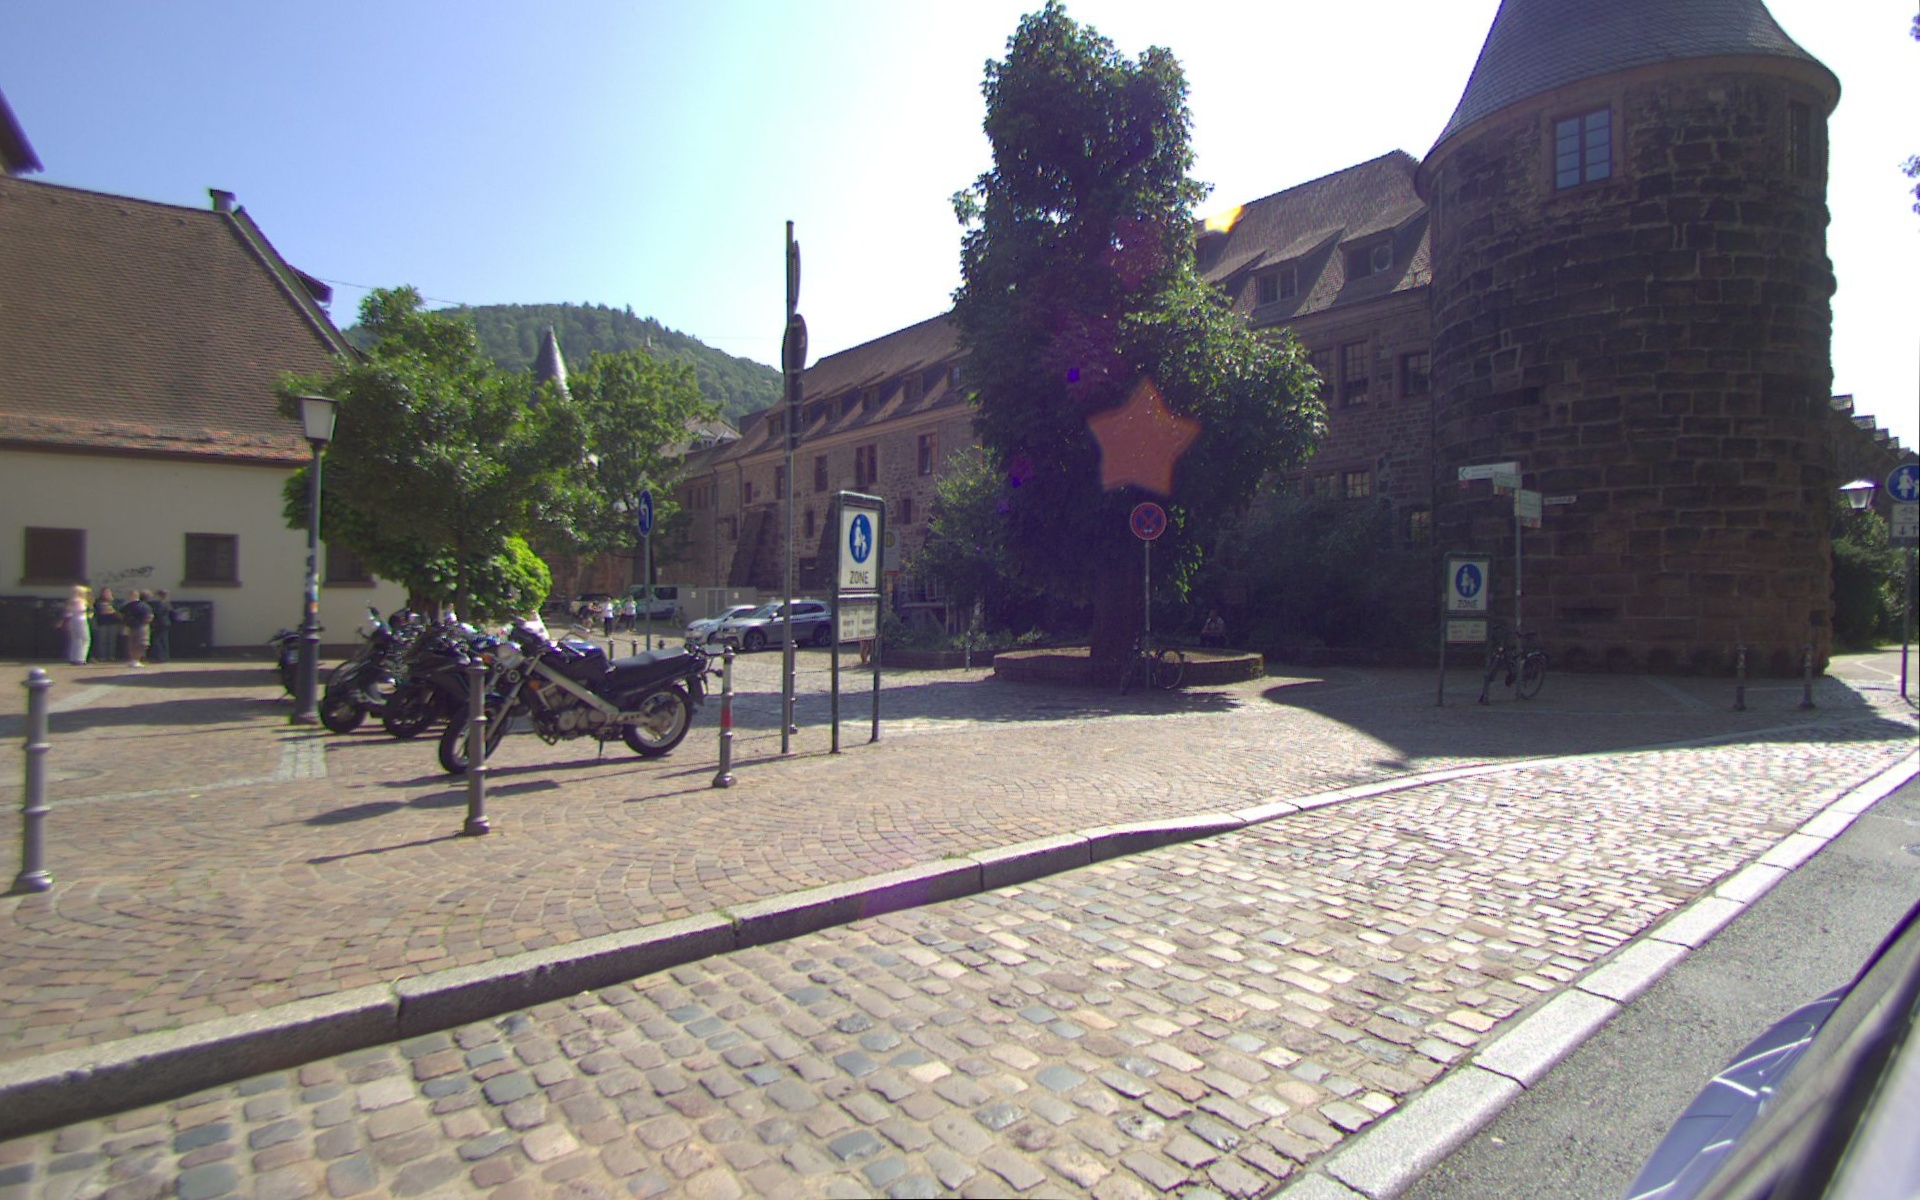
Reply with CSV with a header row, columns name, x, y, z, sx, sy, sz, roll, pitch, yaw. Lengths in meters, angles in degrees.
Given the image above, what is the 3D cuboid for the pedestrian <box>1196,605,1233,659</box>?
name,x,y,z,sx,sy,sz,roll,pitch,yaw
pedestrian,6.018,0.735,23.877,0.661,1.247,0.774,-1,0,30

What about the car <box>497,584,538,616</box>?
name,x,y,z,sx,sy,sz,roll,pitch,yaw
car,-29.224,0.003,66.759,1.765,1.900,4.271,-2,-1,-34

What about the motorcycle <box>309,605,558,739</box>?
name,x,y,z,sx,sy,sz,roll,pitch,yaw
motorcycle,-5.474,0.686,10.621,2.230,1.252,0.740,0,0,-38

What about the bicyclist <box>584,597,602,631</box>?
name,x,y,z,sx,sy,sz,roll,pitch,yaw
bicyclist,-17.108,0.650,47.175,0.620,1.564,0.648,0,0,0

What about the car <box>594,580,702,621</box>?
name,x,y,z,sx,sy,sz,roll,pitch,yaw
car,-17.075,-0.020,55.527,5.297,2.149,1.998,-1,1,-39

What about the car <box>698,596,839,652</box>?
name,x,y,z,sx,sy,sz,roll,pitch,yaw
car,-6.624,0.785,35.197,4.345,1.636,1.999,-3,2,-37

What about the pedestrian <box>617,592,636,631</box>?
name,x,y,z,sx,sy,sz,roll,pitch,yaw
pedestrian,-15.138,0.505,45.919,0.649,1.763,0.711,1,-1,-35

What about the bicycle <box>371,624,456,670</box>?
name,x,y,z,sx,sy,sz,roll,pitch,yaw
bicycle,-12.800,1.101,23.758,0.421,1.027,1.687,-1,-2,44

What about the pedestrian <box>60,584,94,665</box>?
name,x,y,z,sx,sy,sz,roll,pitch,yaw
pedestrian,-18.629,0.506,21.366,0.524,1.688,0.582,0,-1,-41

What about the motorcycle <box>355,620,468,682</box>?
name,x,y,z,sx,sy,sz,roll,pitch,yaw
motorcycle,-11.004,1.019,20.350,0.597,1.175,1.887,-1,-2,44

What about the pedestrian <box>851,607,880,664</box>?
name,x,y,z,sx,sy,sz,roll,pitch,yaw
pedestrian,-2.479,0.915,26.584,0.660,1.439,0.663,-2,0,-9

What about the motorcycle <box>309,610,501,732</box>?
name,x,y,z,sx,sy,sz,roll,pitch,yaw
motorcycle,-6.140,0.747,11.251,1.774,1.247,0.671,1,-2,-38

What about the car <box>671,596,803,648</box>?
name,x,y,z,sx,sy,sz,roll,pitch,yaw
car,-8.309,0.780,37.865,4.345,1.636,1.999,-3,2,-37

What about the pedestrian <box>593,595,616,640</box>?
name,x,y,z,sx,sy,sz,roll,pitch,yaw
pedestrian,-14.172,0.702,40.310,0.698,1.763,0.661,1,-1,-35

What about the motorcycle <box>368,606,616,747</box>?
name,x,y,z,sx,sy,sz,roll,pitch,yaw
motorcycle,-4.638,0.699,10.167,2.180,1.252,0.658,0,0,-44

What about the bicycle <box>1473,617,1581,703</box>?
name,x,y,z,sx,sy,sz,roll,pitch,yaw
bicycle,8.463,0.859,15.084,1.812,1.167,0.844,0,0,-41

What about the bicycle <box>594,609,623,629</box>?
name,x,y,z,sx,sy,sz,roll,pitch,yaw
bicycle,-16.874,0.917,48.559,1.605,0.933,0.582,1,0,40

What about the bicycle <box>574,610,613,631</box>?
name,x,y,z,sx,sy,sz,roll,pitch,yaw
bicycle,-17.073,0.954,47.177,1.582,0.933,0.671,0,0,1

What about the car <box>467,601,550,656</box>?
name,x,y,z,sx,sy,sz,roll,pitch,yaw
car,-14.785,0.870,33.033,1.765,1.549,4.144,-2,2,-34

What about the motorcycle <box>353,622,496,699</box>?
name,x,y,z,sx,sy,sz,roll,pitch,yaw
motorcycle,-8.826,0.974,16.714,1.983,1.159,0.742,0,-2,-38

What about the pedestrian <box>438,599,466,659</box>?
name,x,y,z,sx,sy,sz,roll,pitch,yaw
pedestrian,-15.351,0.868,30.585,0.661,1.763,0.661,1,-1,-35

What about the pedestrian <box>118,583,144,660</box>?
name,x,y,z,sx,sy,sz,roll,pitch,yaw
pedestrian,-18.575,0.474,22.677,0.444,1.688,0.359,0,-1,-41

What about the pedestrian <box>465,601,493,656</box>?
name,x,y,z,sx,sy,sz,roll,pitch,yaw
pedestrian,-14.744,0.869,30.988,0.661,1.650,0.661,1,-1,-35

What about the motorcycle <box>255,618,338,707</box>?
name,x,y,z,sx,sy,sz,roll,pitch,yaw
motorcycle,-9.541,0.848,14.513,0.861,1.162,2.343,0,-1,-36

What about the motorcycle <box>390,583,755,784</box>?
name,x,y,z,sx,sy,sz,roll,pitch,yaw
motorcycle,-2.890,0.572,7.816,2.486,1.310,0.883,1,-3,-44

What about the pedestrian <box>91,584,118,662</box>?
name,x,y,z,sx,sy,sz,roll,pitch,yaw
pedestrian,-18.928,0.503,22.395,0.444,1.688,0.359,0,-1,-41

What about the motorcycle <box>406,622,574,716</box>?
name,x,y,z,sx,sy,sz,roll,pitch,yaw
motorcycle,-6.270,0.879,13.555,1.874,1.108,0.875,0,0,-44

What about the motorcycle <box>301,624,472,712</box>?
name,x,y,z,sx,sy,sz,roll,pitch,yaw
motorcycle,-7.717,0.883,13.681,1.897,1.095,0.630,2,-2,-44

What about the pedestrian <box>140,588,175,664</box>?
name,x,y,z,sx,sy,sz,roll,pitch,yaw
pedestrian,-17.857,0.564,22.517,0.578,1.664,0.421,1,-1,-41

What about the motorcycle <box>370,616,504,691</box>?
name,x,y,z,sx,sy,sz,roll,pitch,yaw
motorcycle,-9.142,0.915,17.763,2.003,1.252,0.600,0,0,-15

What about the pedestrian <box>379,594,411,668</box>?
name,x,y,z,sx,sy,sz,roll,pitch,yaw
pedestrian,-13.690,0.735,24.523,0.594,1.763,0.661,1,-1,-35

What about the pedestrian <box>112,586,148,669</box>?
name,x,y,z,sx,sy,sz,roll,pitch,yaw
pedestrian,-17.363,0.564,21.180,0.572,1.688,0.532,0,-1,-41

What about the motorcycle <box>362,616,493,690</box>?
name,x,y,z,sx,sy,sz,roll,pitch,yaw
motorcycle,-9.598,0.939,18.293,2.003,1.252,0.600,0,0,-14

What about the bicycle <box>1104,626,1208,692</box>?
name,x,y,z,sx,sy,sz,roll,pitch,yaw
bicycle,3.261,0.960,16.814,1.679,1.015,0.660,0,-1,-30
